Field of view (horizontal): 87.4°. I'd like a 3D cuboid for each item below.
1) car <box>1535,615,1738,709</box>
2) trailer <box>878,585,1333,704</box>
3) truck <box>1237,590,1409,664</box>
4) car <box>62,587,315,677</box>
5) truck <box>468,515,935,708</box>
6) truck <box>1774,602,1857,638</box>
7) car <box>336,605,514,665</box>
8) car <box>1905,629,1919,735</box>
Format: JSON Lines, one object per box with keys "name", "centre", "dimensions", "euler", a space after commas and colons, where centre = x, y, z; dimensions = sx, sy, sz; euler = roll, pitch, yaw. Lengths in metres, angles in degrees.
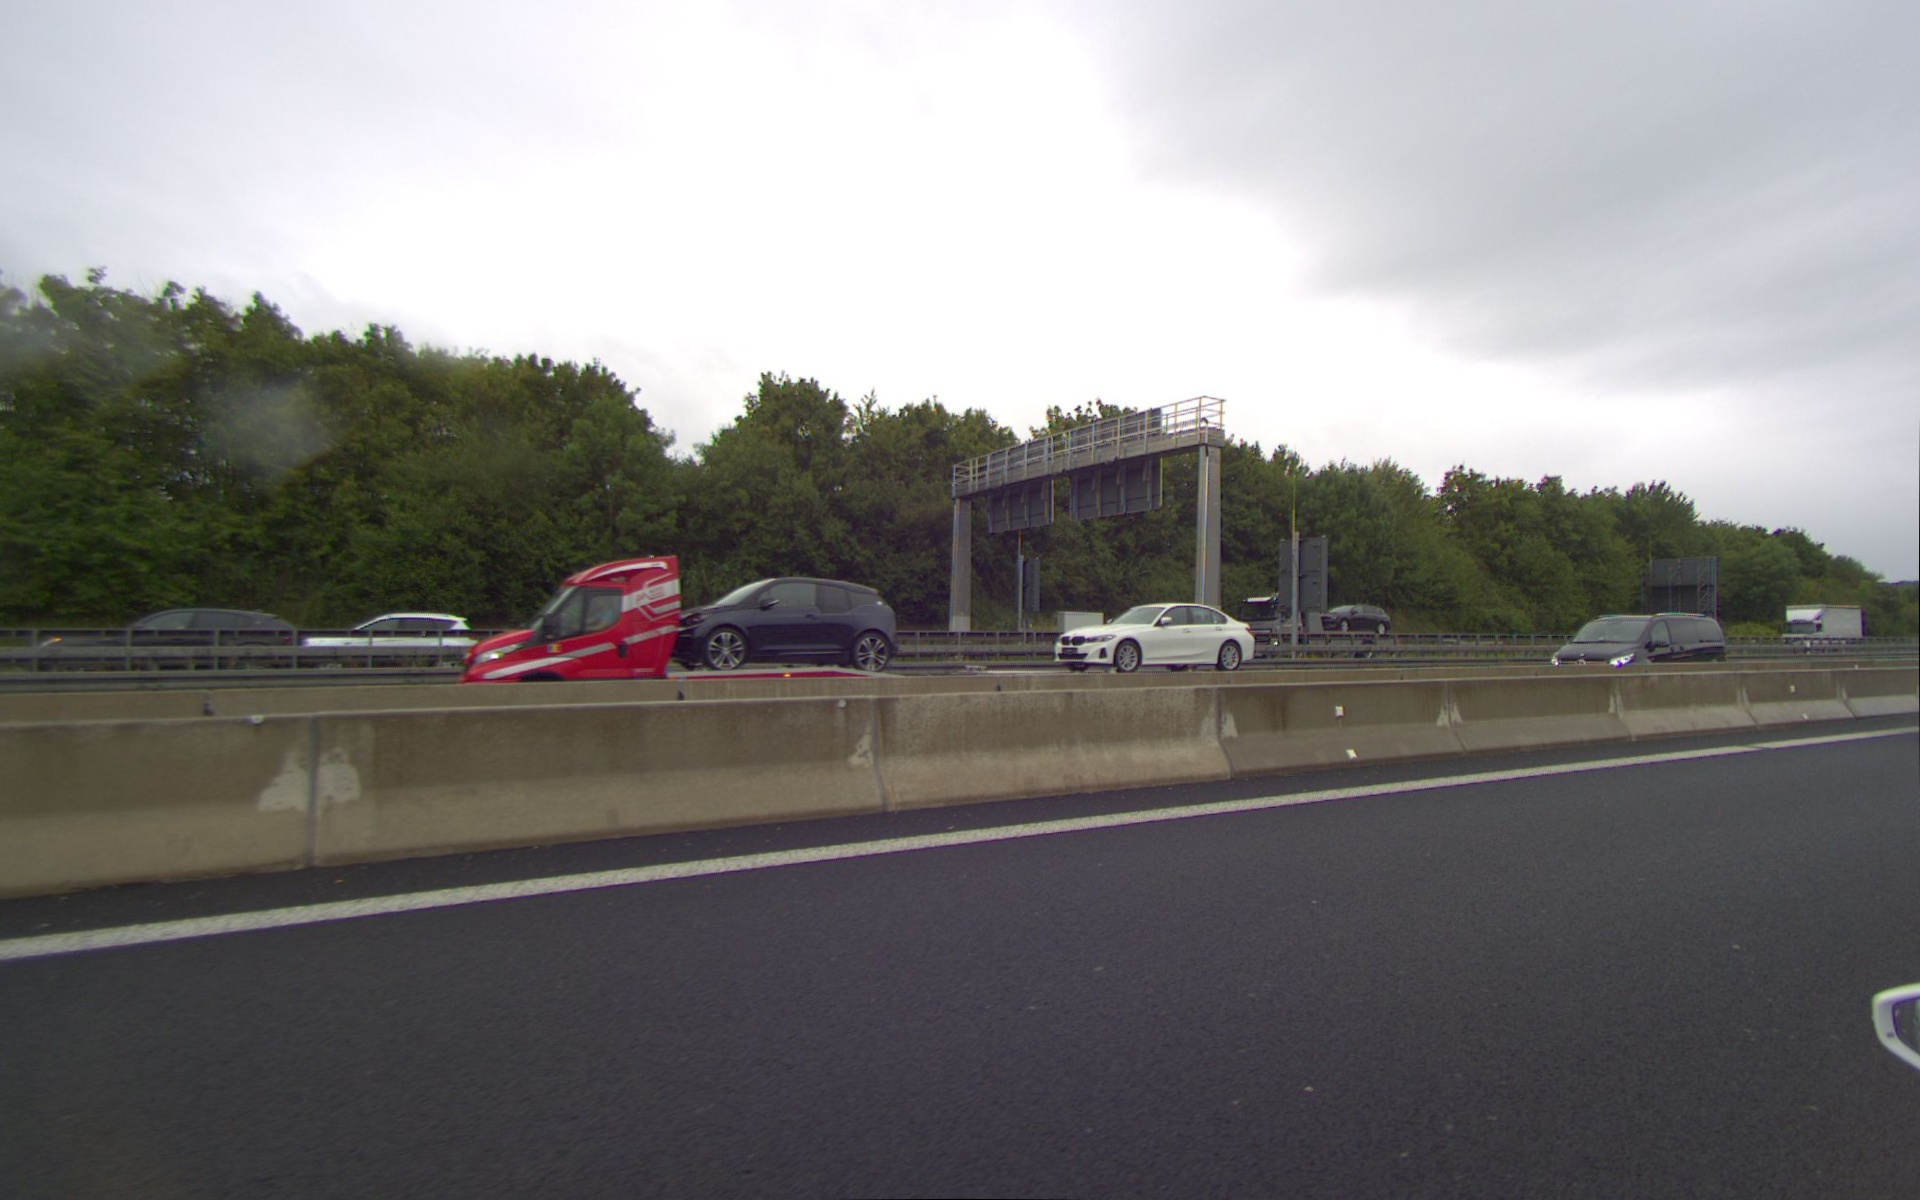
{"name": "car", "centre": [16.149, 1.416, 23.911], "dimensions": [5.038, 2.040, 1.985], "euler": [1, -1, -29]}
{"name": "trailer", "centre": [3.388, 0.891, 20.961], "dimensions": [10.127, 2.040, 2.524], "euler": [2, -1, -31]}
{"name": "truck", "centre": [16.919, 1.269, 46.557], "dimensions": [8.745, 3.187, 2.501], "euler": [1, -1, -31]}
{"name": "car", "centre": [-16.791, 0.700, 22.166], "dimensions": [4.133, 1.812, 1.827], "euler": [1, -1, -29]}
{"name": "truck", "centre": [-4.053, 0.244, 16.478], "dimensions": [7.012, 2.628, 2.414], "euler": [2, -1, -31]}
{"name": "truck", "centre": [71.064, 1.690, 83.389], "dimensions": [8.443, 2.910, 2.725], "euler": [2, -1, -31]}
{"name": "car", "centre": [-14.673, 0.962, 27.692], "dimensions": [4.163, 1.550, 1.984], "euler": [1, -1, -30]}
{"name": "car", "centre": [15.417, 1.187, 14.224], "dimensions": [4.317, 1.444, 1.821], "euler": [2, 0, -30]}
